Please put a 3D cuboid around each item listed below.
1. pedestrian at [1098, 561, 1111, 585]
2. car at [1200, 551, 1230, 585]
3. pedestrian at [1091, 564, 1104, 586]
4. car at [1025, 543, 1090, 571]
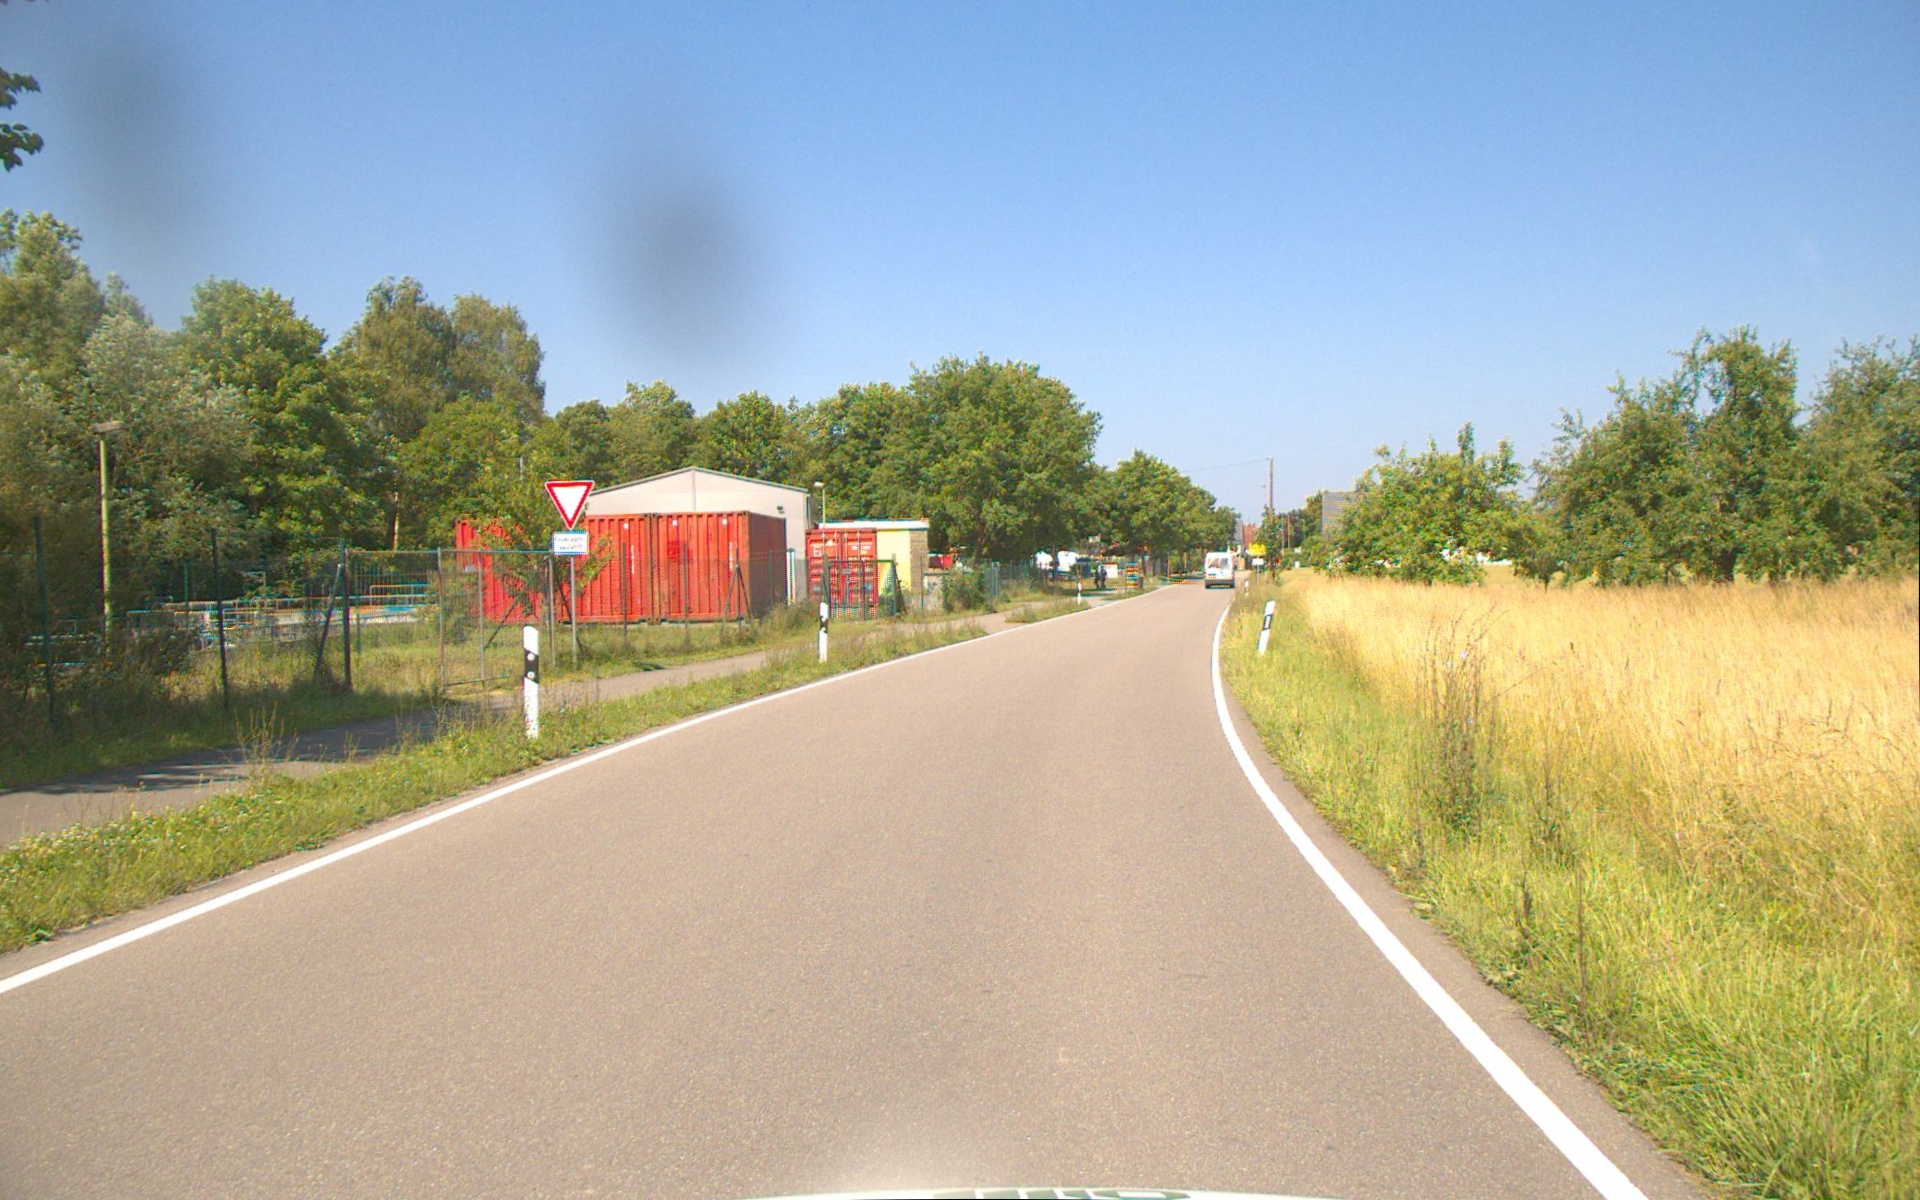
[{"bbox_3d":[10.944,-2.040,125.150,0.707,1.834,0.708,-1,1,33],"label":"pedestrian"},{"bbox_3d":[18.148,-2.306,117.702,1.951,2.305,4.731,-2,1,10],"label":"car"},{"bbox_3d":[10.391,-1.881,124.595,0.665,1.593,0.717,-1,1,33],"label":"pedestrian"},{"bbox_3d":[8.617,-3.786,146.227,5.533,2.305,1.981,-3,1,-29],"label":"car"}]
